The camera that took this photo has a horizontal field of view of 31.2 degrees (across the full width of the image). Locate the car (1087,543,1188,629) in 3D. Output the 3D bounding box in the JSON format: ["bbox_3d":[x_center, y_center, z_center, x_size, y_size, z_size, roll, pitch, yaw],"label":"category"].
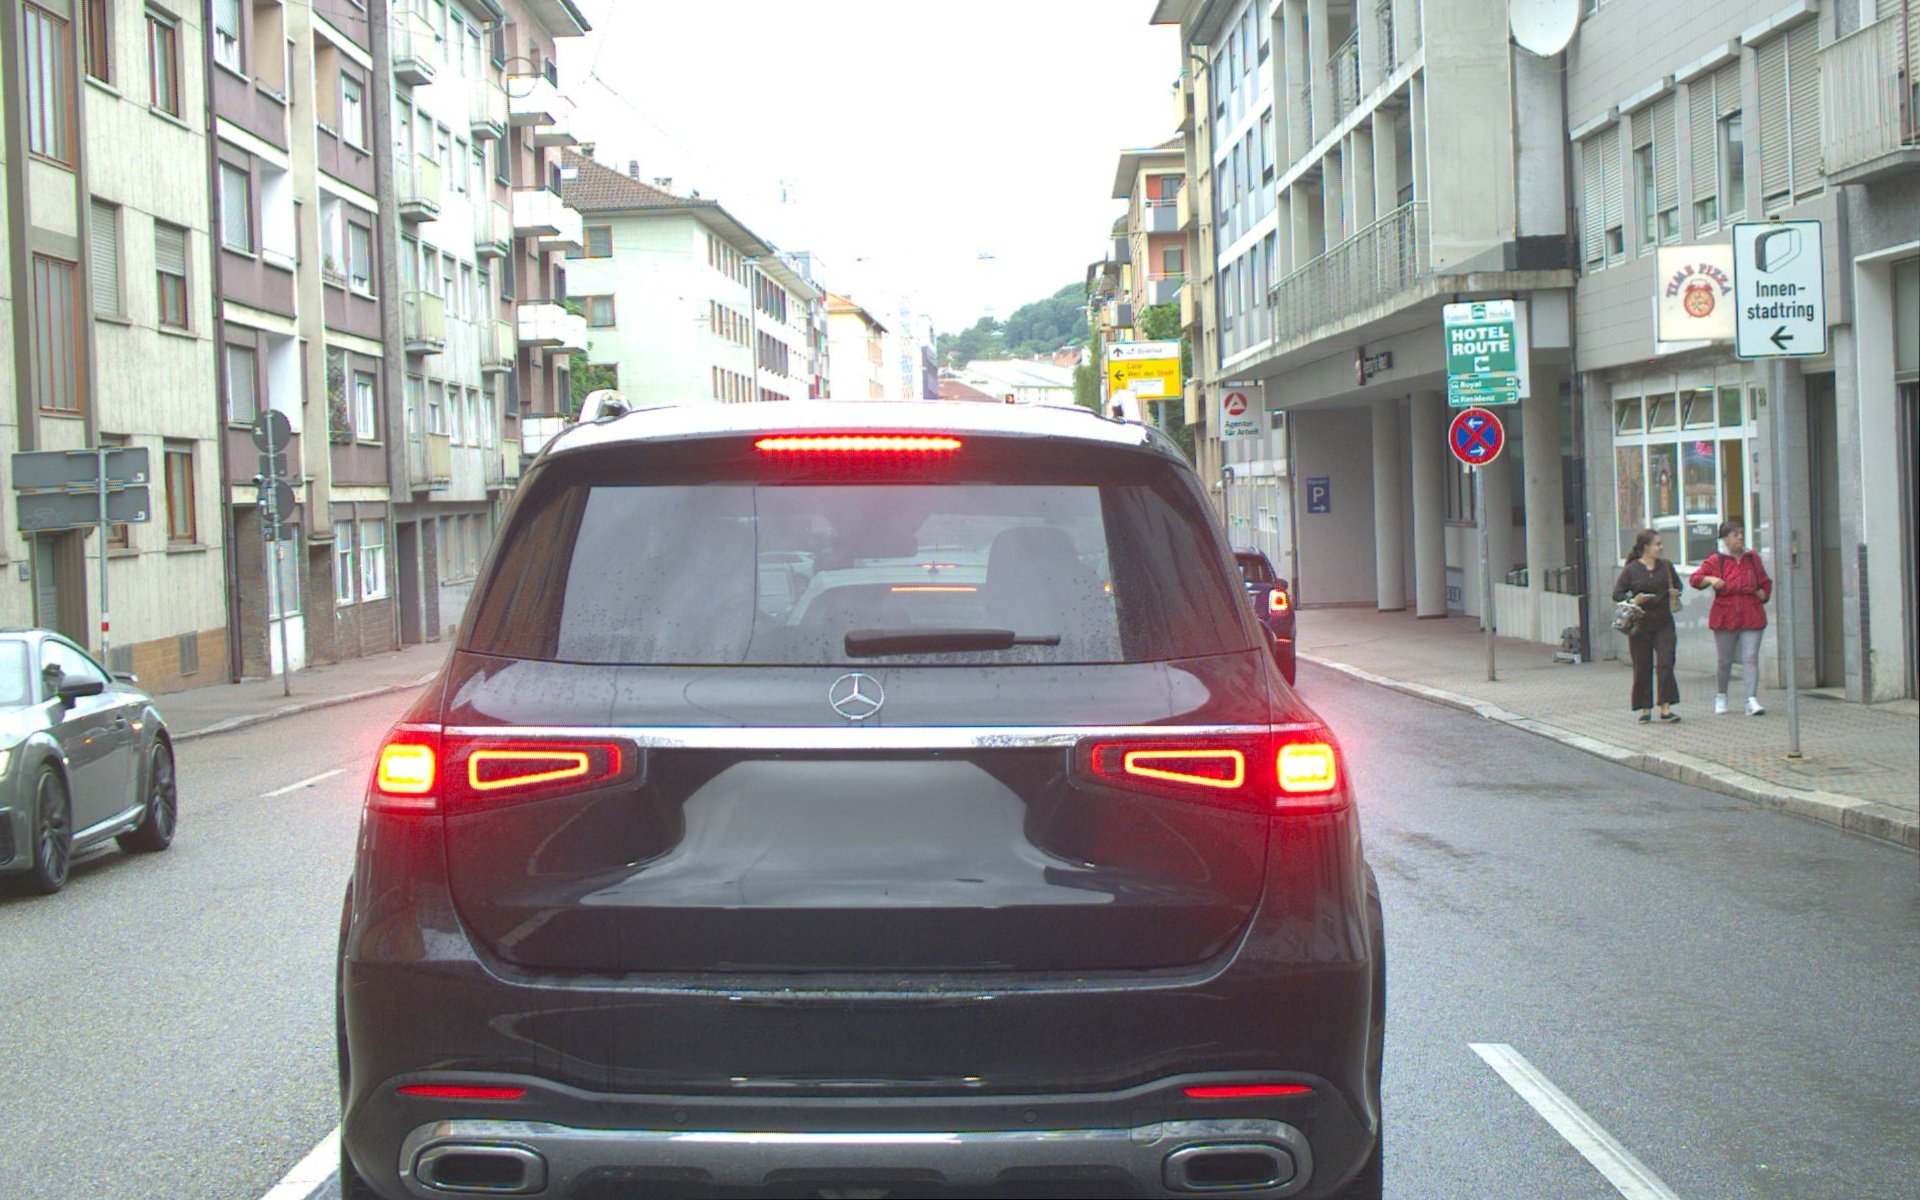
[{"bbox_3d":[3.371,-0.293,65.898,1.808,1.600,4.212,0,1,1],"label":"car"}]

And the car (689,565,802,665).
[{"bbox_3d":[-3.797,0.242,61.416,1.732,1.570,4.012,-5,1,-1],"label":"car"}]

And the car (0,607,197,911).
[{"bbox_3d":[-5.341,0.819,17.955,1.767,1.341,3.889,-5,1,0],"label":"car"}]

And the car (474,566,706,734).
[{"bbox_3d":[-3.456,0.425,32.800,1.724,1.385,4.339,-3,1,-1],"label":"car"}]

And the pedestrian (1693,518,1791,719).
[{"bbox_3d":[6.308,0.145,27.742,0.560,1.573,0.526,-4,1,-1],"label":"pedestrian"}]

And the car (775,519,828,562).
[{"bbox_3d":[-5.634,-2.121,122.606,1.648,1.434,4.125,-3,1,-1],"label":"car"}]

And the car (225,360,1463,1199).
[{"bbox_3d":[-0.233,0.487,7.687,2.025,1.799,4.000,1,1,-1],"label":"car"}]

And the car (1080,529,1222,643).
[{"bbox_3d":[3.063,-0.253,55.975,1.940,1.769,4.747,0,1,-1],"label":"car"}]

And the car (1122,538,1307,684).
[{"bbox_3d":[2.867,0.090,39.461,1.767,1.575,4.000,-1,1,-1],"label":"car"}]

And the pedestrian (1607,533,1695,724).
[{"bbox_3d":[5.589,0.223,27.824,0.506,1.495,0.562,-4,1,2],"label":"pedestrian"}]
